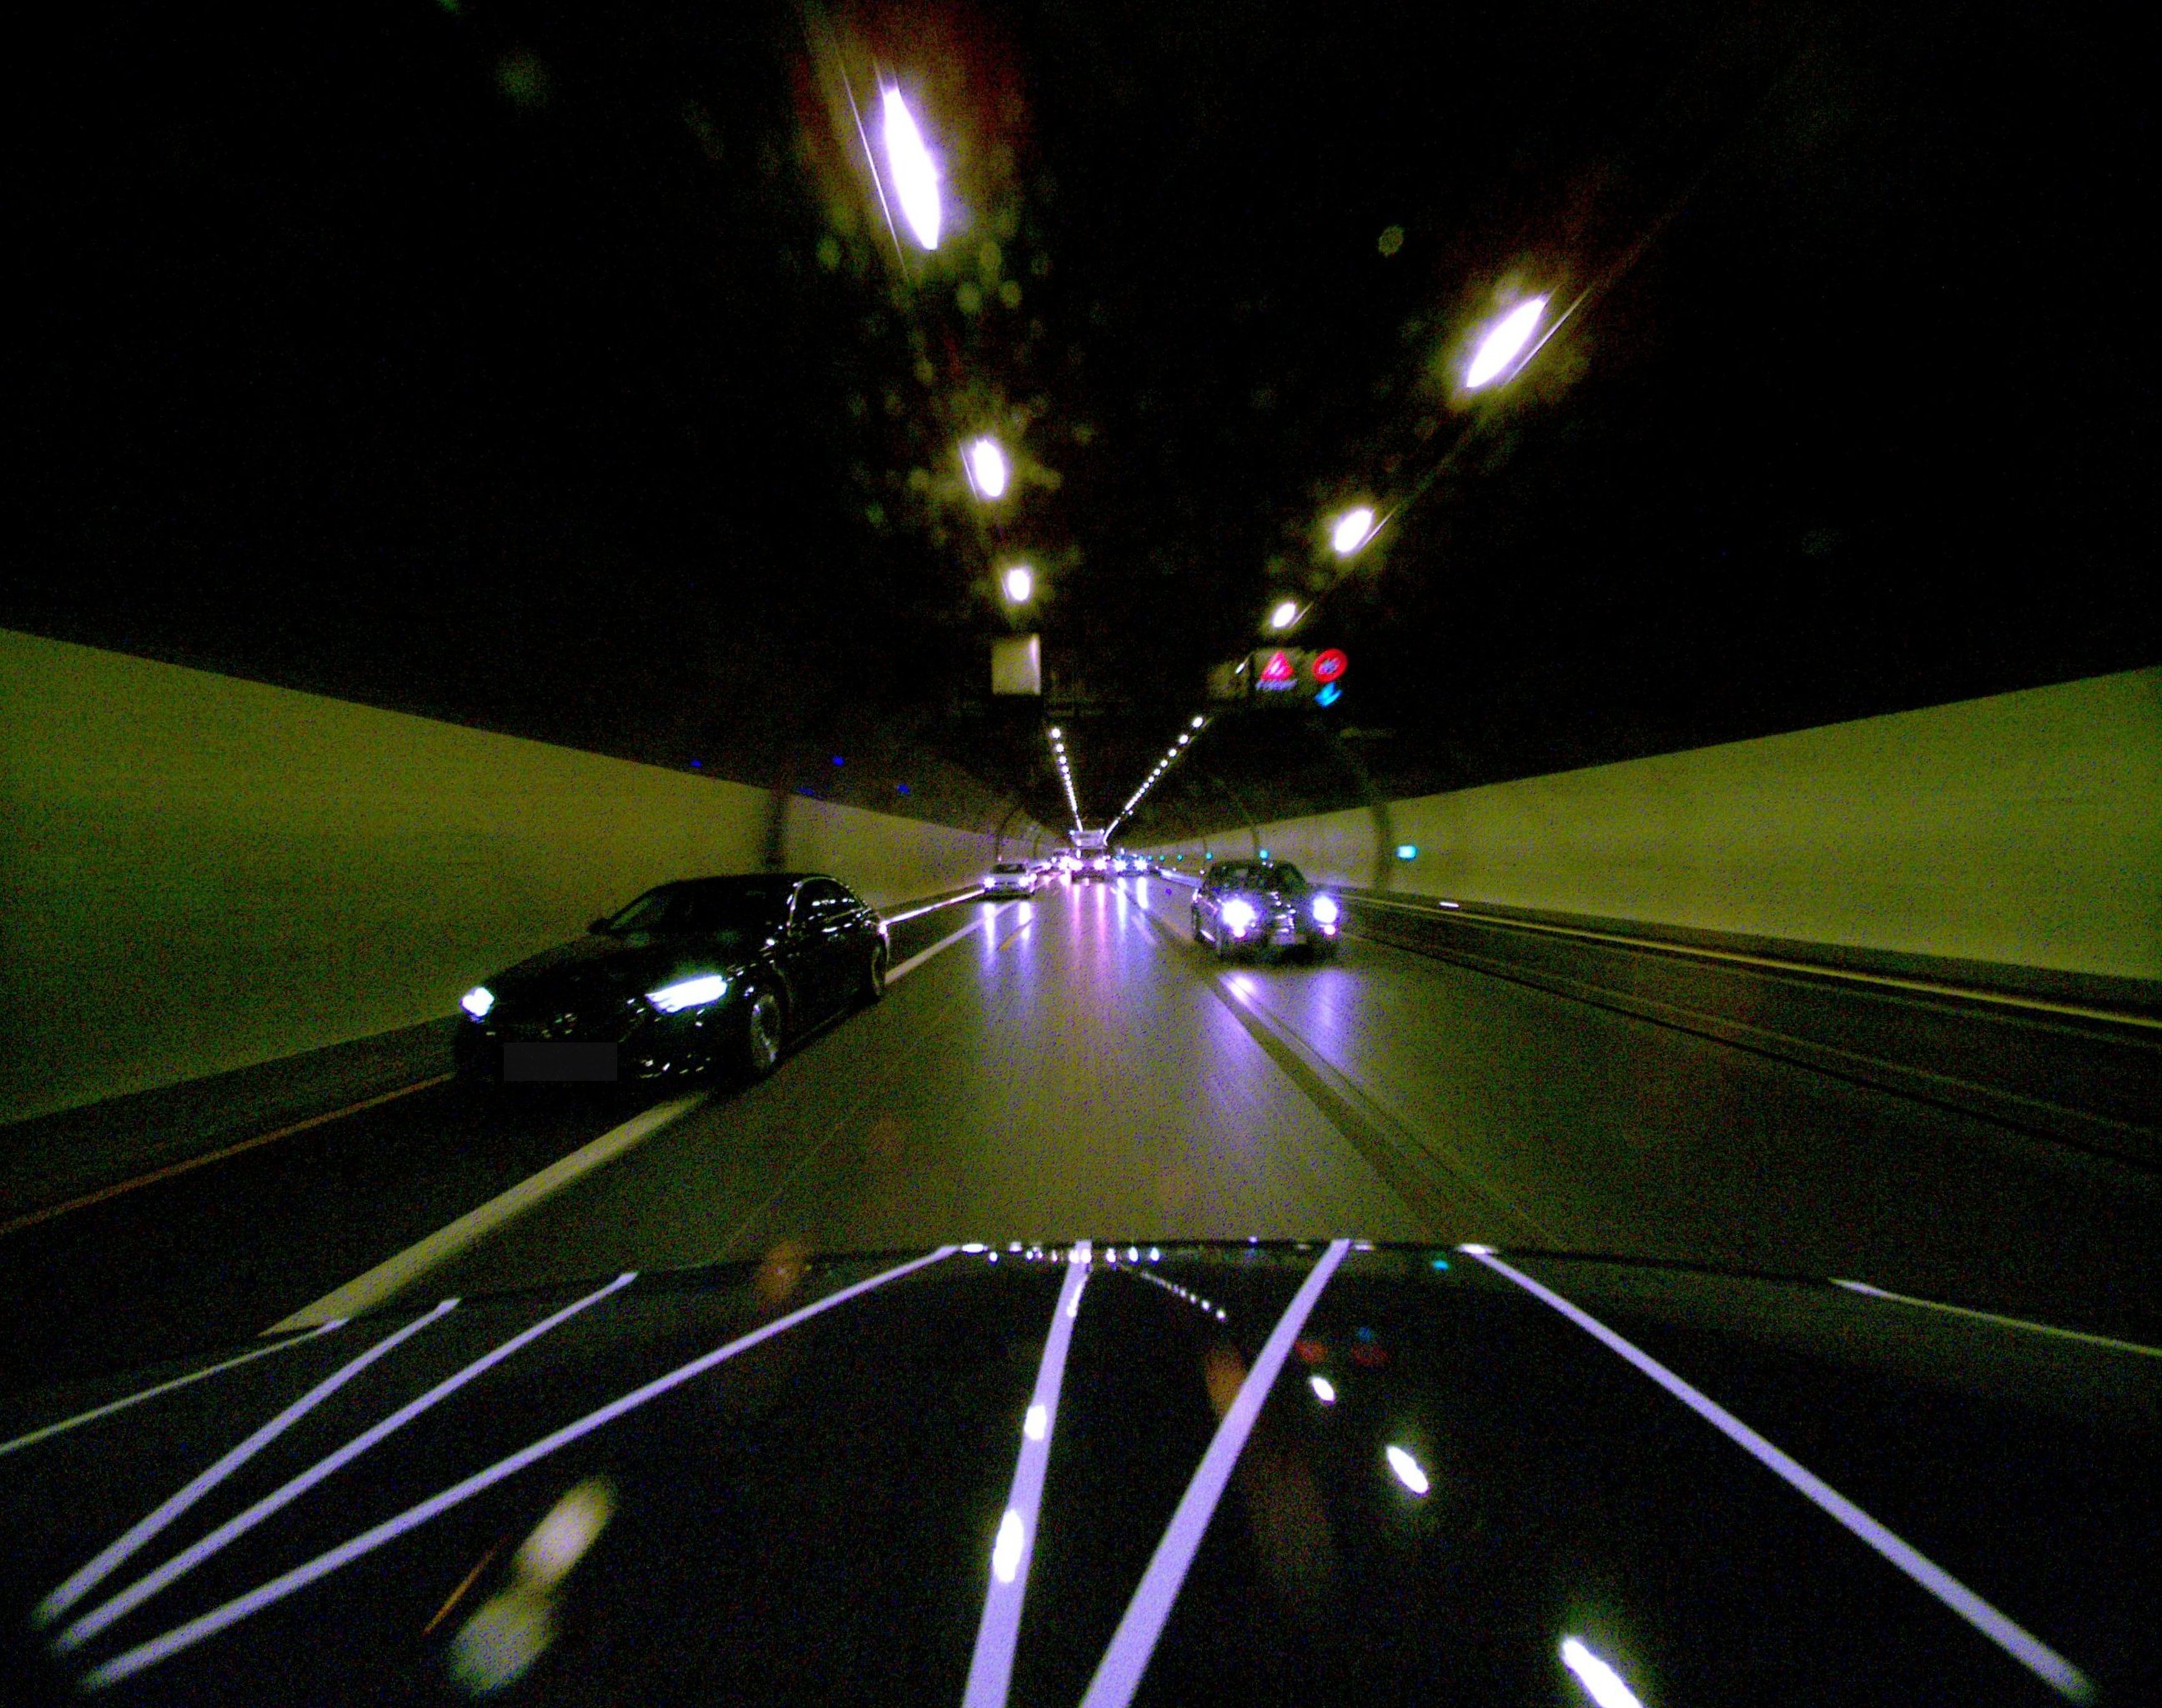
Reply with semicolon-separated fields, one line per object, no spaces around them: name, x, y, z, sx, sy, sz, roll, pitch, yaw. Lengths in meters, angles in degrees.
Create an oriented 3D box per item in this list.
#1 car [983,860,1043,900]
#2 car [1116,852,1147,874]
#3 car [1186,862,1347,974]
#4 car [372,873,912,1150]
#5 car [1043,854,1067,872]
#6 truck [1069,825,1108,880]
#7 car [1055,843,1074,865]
car;-2.661;0.982;30.404;1.801;1.452;4.035;-1;0;3
car;3.768;0.649;57.538;1.958;1.527;4.757;-2;1;0
car;2.725;0.876;11.969;1.657;1.395;3.657;-2;0;1
car;-3.112;0.982;6.907;1.930;1.464;4.954;0;0;1
car;-2.316;0.766;68.016;1.958;1.527;4.757;-1;1;0
truck;0.510;-0.104;48.301;2.262;3.238;7.383;0;0;1
car;-2.069;-0.099;95.068;2.124;2.629;6.229;-1;1;1
